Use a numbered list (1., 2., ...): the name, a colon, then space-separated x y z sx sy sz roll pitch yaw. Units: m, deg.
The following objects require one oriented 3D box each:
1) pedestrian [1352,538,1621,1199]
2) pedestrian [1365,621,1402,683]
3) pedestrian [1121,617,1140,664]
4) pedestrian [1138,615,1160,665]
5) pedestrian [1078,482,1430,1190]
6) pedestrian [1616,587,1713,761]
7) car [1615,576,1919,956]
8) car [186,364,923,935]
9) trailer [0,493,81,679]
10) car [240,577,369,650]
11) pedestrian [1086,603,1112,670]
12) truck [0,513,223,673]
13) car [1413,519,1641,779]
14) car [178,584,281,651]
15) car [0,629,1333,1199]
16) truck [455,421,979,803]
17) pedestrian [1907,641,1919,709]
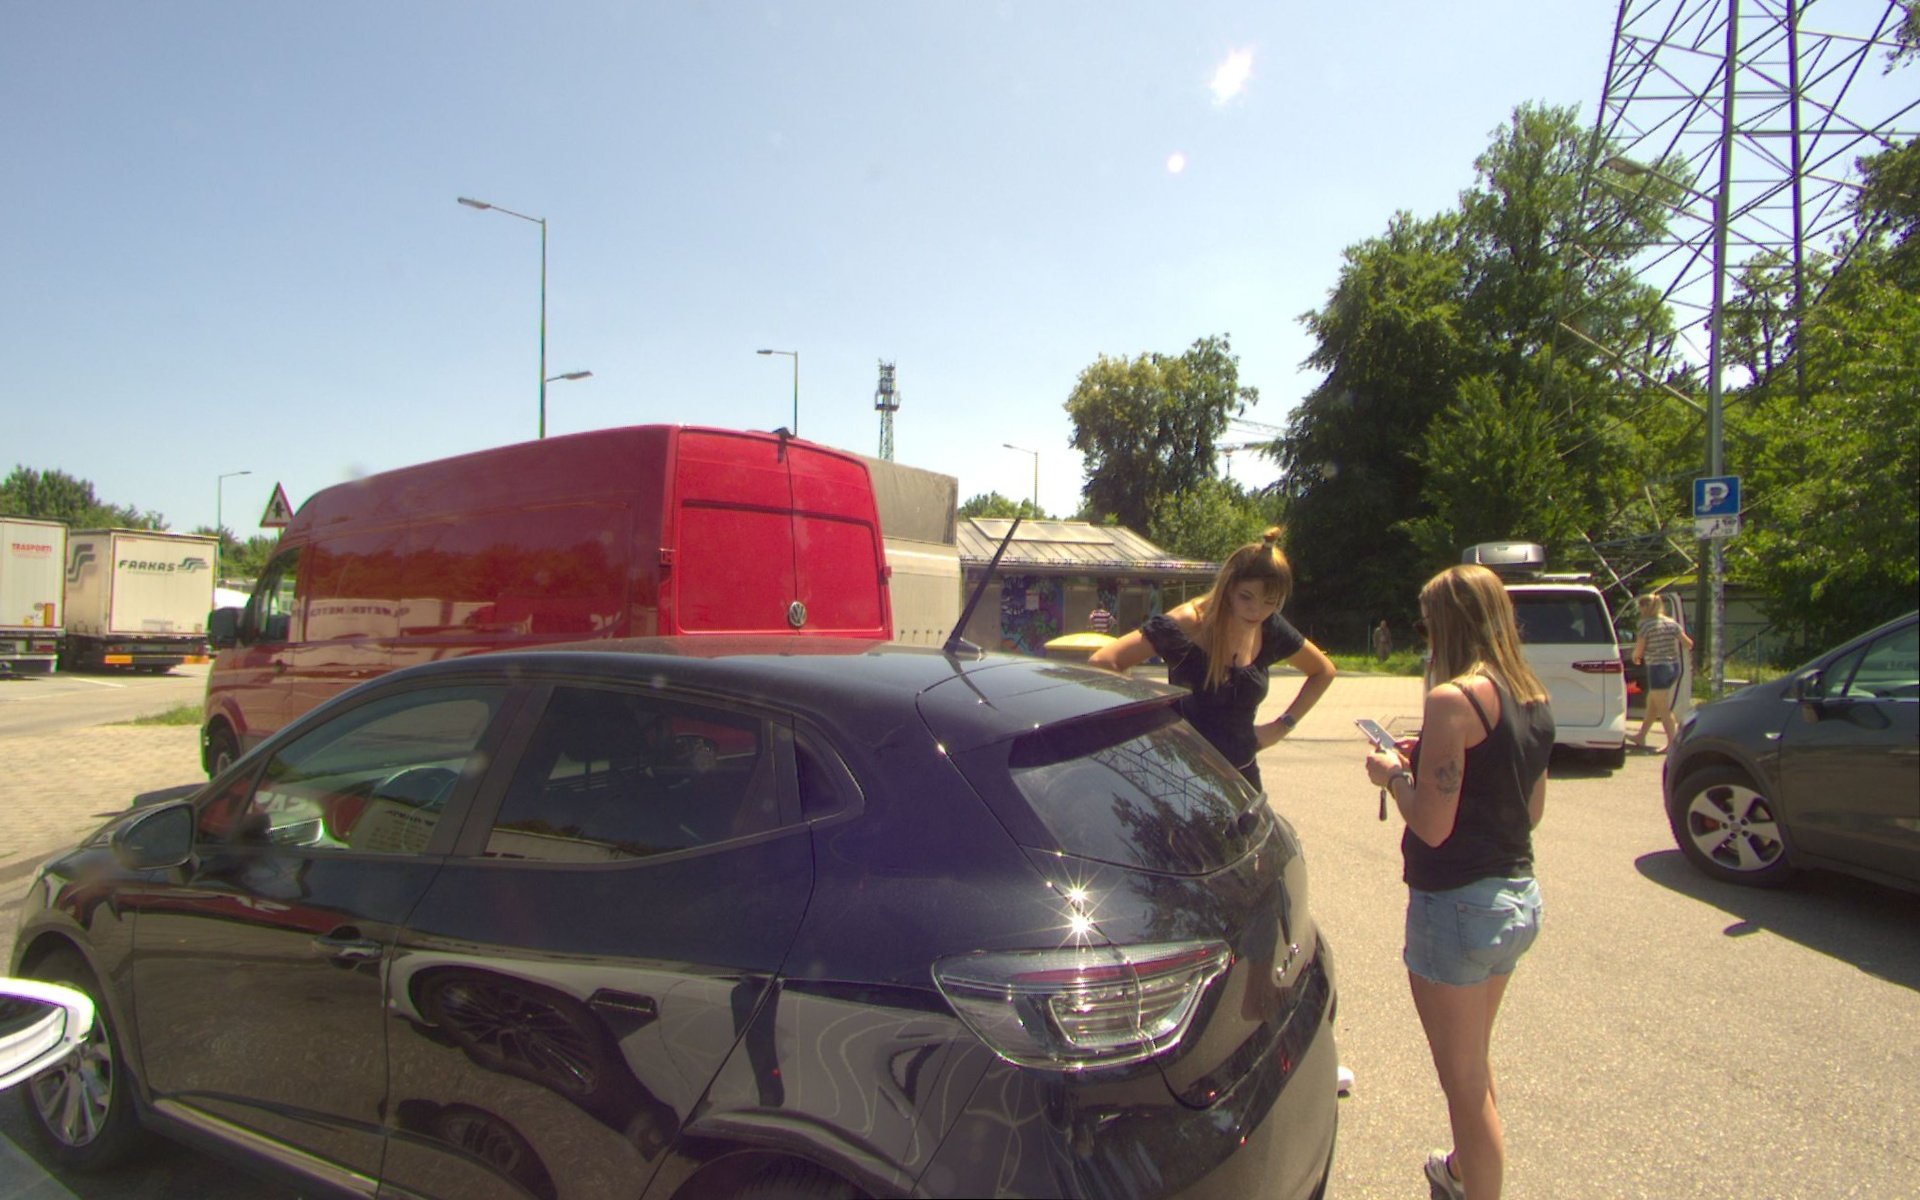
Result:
1. pedestrian: 1.183 0.693 2.275 0.478 1.615 0.501 0 0 29
2. pedestrian: 14.257 1.743 33.714 0.955 2.039 0.829 0 -1 10
3. pedestrian: 5.062 1.197 29.706 0.439 1.362 0.477 0 0 23
4. pedestrian: 5.621 1.180 29.809 0.521 1.478 0.576 0 0 23
5. pedestrian: 0.879 0.641 3.044 0.897 1.884 0.486 1 0 -18
6. pedestrian: 8.060 0.826 11.494 0.828 1.903 0.773 -1 -1 32
7. car: 5.046 0.729 4.315 1.803 1.638 4.168 1 -1 2
8. car: -3.362 0.256 7.353 6.298 2.668 1.988 0 -1 36
9. trailer: -28.634 -0.341 27.882 12.642 4.511 2.677 0 -1 32
10. car: -29.462 0.599 44.935 6.259 3.114 2.495 0 -1 32
11. pedestrian: 3.753 0.985 26.995 0.520 1.783 0.651 0 0 23
12. truck: -27.089 -0.025 31.186 11.800 4.279 2.582 -1 -2 32
13. car: 6.656 0.517 11.883 1.901 2.401 4.954 1 -1 29
14. car: -29.933 0.753 41.018 3.943 2.632 2.111 -1 -2 32
15. car: -0.950 0.836 2.883 3.628 1.476 1.776 -1 -2 27
16. truck: -2.470 0.176 9.895 4.751 2.863 2.514 -1 -2 34
17. pedestrian: 17.101 1.309 17.392 0.694 1.178 0.787 -1 -1 22
